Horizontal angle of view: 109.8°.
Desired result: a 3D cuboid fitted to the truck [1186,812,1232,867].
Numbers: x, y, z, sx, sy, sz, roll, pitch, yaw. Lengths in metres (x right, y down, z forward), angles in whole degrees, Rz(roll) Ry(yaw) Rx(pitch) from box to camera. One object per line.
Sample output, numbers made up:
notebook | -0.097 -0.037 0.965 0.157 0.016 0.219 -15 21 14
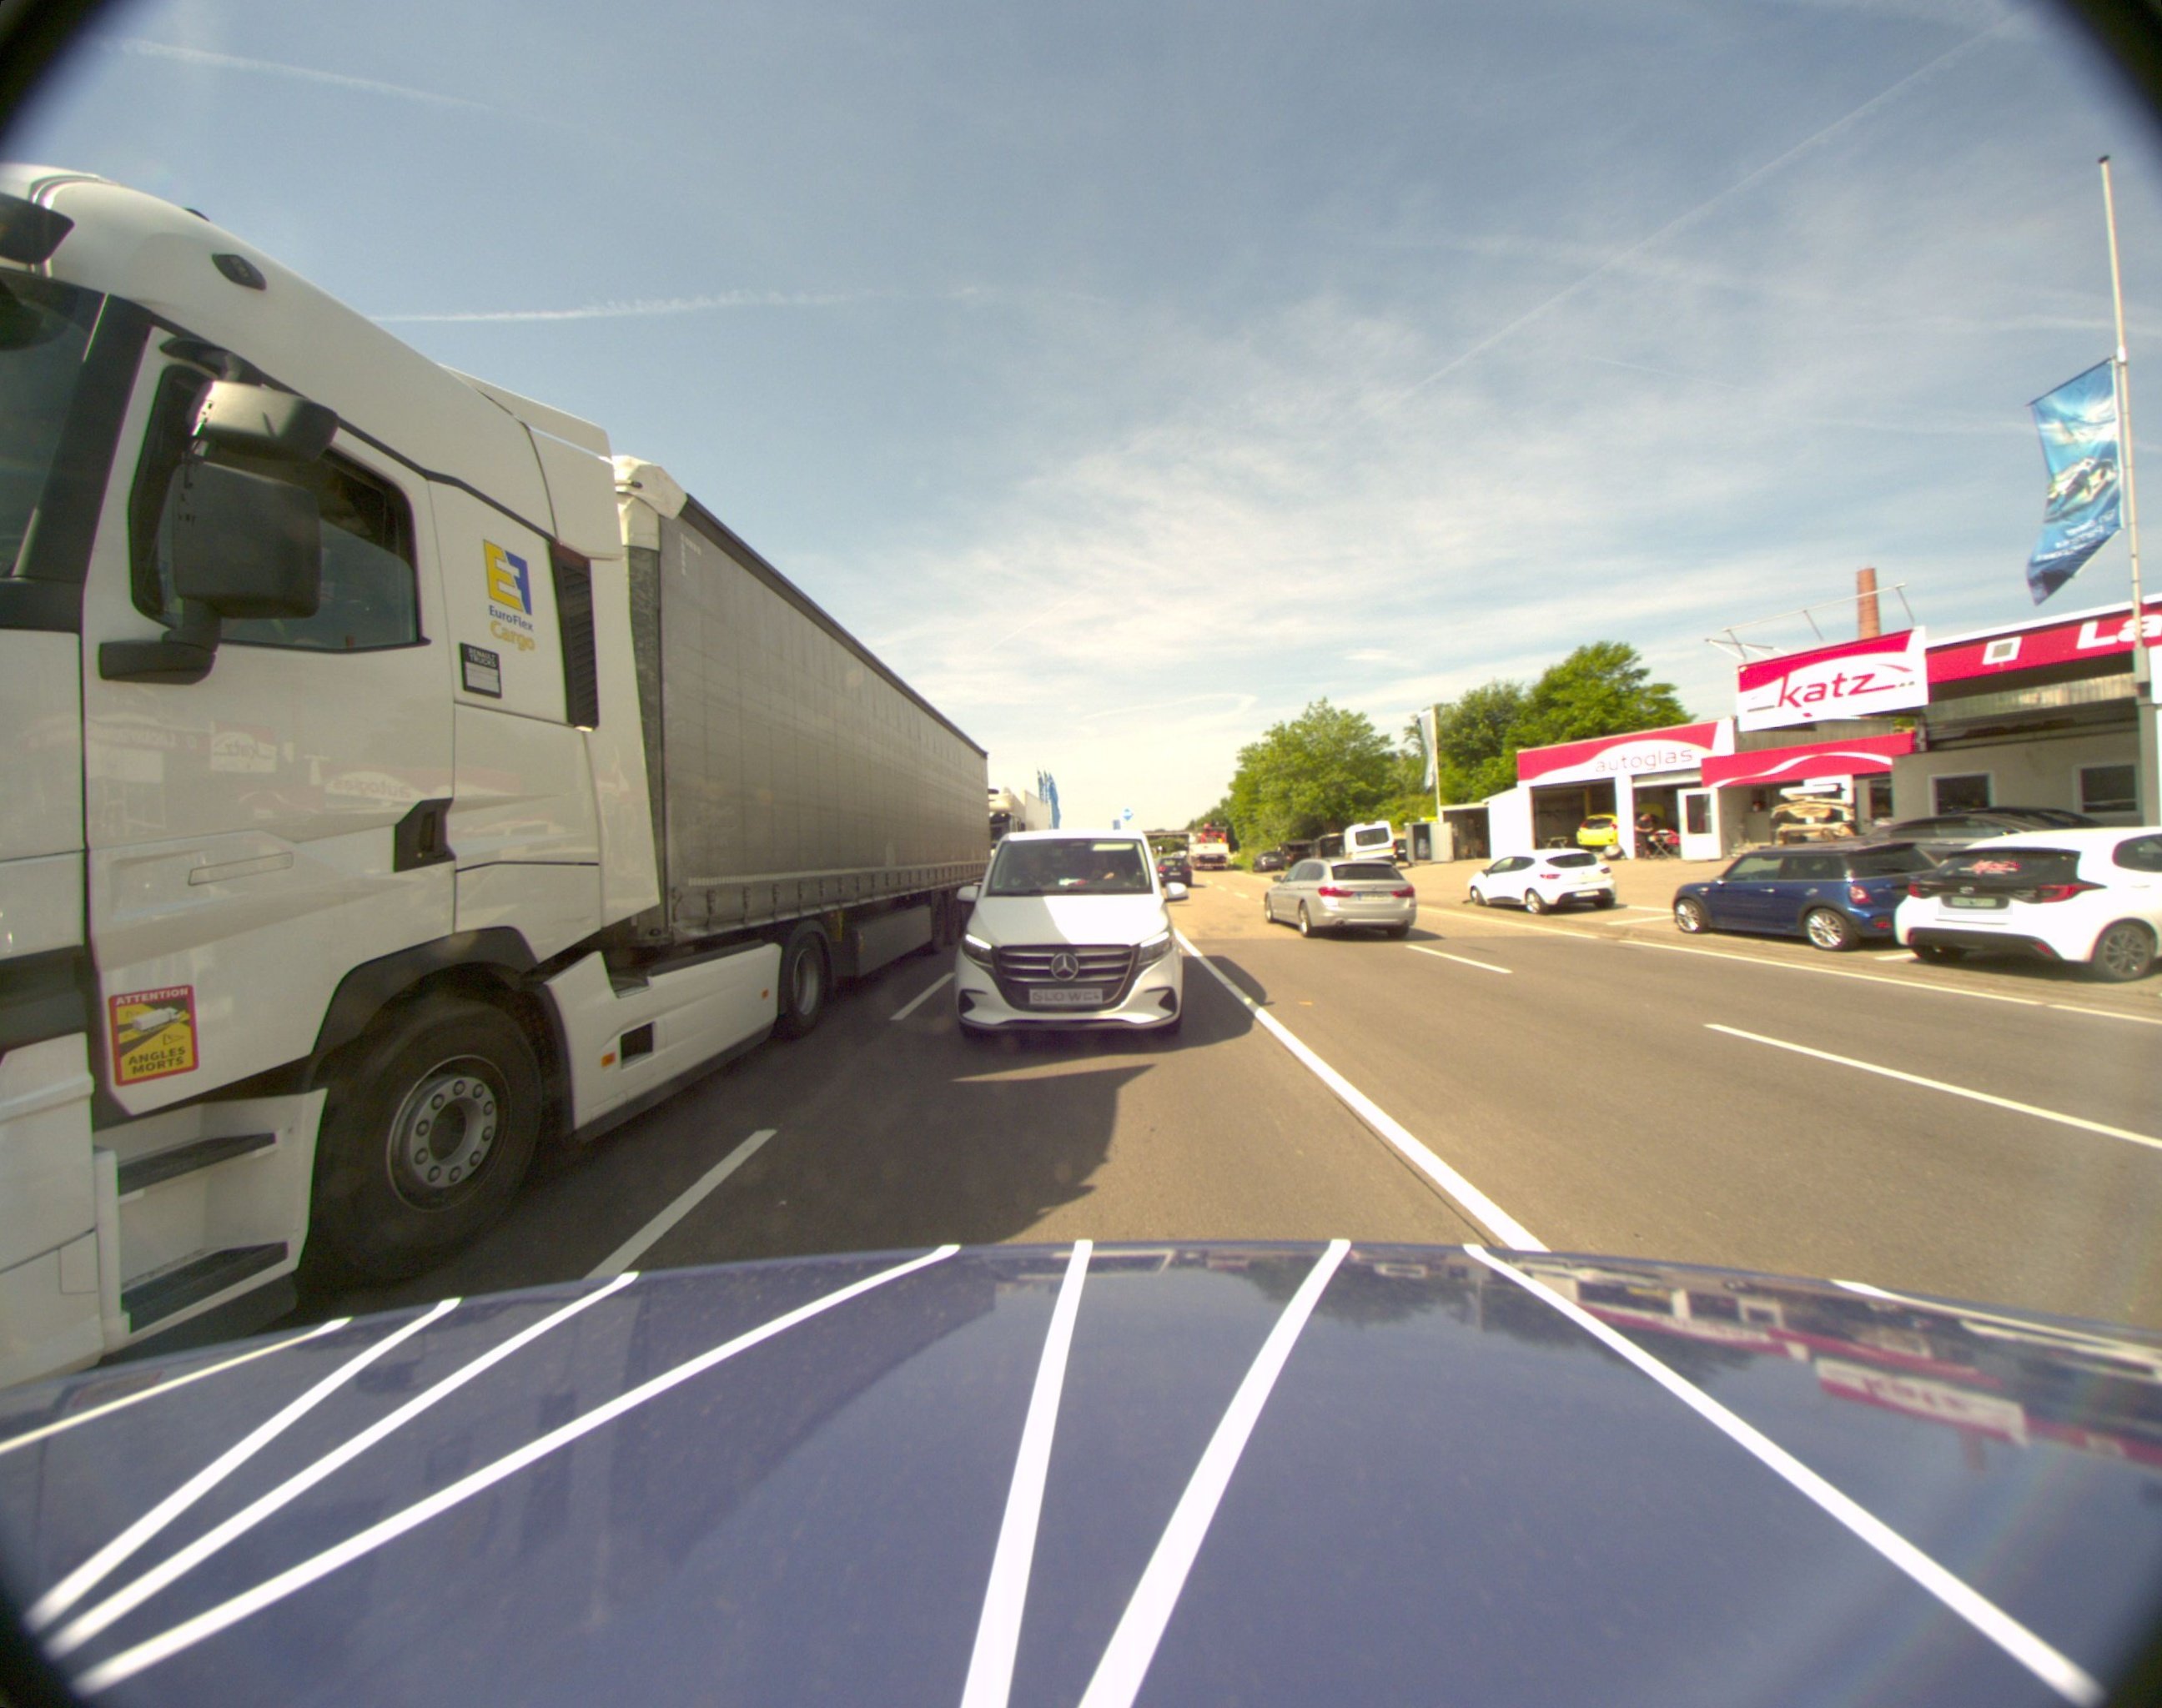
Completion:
truck | 10.553 -1.126 63.593 2.962 4.184 10.650 0 0 5

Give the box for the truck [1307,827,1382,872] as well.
truck | 16.326 -0.318 47.678 2.335 2.283 8.806 -7 0 6

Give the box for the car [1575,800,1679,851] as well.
car | 22.754 -1.180 31.656 3.674 1.715 1.736 -6 2 -22

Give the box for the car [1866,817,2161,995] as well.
car | 11.697 0.472 8.543 3.806 1.516 1.846 -5 0 -2

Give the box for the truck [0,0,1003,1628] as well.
truck | -3.677 -0.376 9.788 2.897 4.241 16.710 -2 0 2

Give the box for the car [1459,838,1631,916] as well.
car | 11.096 0.482 18.548 1.783 1.608 4.000 -3 0 2

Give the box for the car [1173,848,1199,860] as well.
car | 14.691 -0.025 106.316 1.807 1.551 4.395 -1 0 35

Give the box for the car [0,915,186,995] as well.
car | -23.554 2.278 17.471 1.562 1.401 3.596 -1 1 2

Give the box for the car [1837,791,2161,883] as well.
car | 18.944 -0.274 15.610 1.861 1.496 4.389 -5 -1 -22

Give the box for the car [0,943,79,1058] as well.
car | -16.065 2.073 9.597 3.669 1.394 1.735 -3 0 -26

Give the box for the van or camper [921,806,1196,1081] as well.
van or camper | -0.069 0.672 8.309 1.998 2.002 5.291 -2 0 2

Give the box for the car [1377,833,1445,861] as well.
car | 20.361 -0.440 46.930 3.675 1.521 1.736 -3 1 -22

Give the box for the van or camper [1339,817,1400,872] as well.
van or camper | 15.041 -0.504 39.889 2.157 2.484 5.956 -6 0 15

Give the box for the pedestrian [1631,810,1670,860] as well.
pedestrian | 20.955 -0.691 27.959 0.724 1.752 0.895 -3 1 3

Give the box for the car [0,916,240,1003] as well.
car | -21.558 2.256 16.916 1.562 1.401 3.596 -1 1 2

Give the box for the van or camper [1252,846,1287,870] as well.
van or camper | 13.232 0.263 53.599 1.643 1.515 4.468 -3 1 5

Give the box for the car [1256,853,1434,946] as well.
car | 5.013 0.764 15.238 1.914 1.512 4.781 -2 0 1

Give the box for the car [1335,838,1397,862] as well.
car | 19.871 -0.296 53.059 3.671 1.502 1.716 -3 1 -8

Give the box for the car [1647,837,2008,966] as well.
car | 11.076 0.600 11.732 1.783 1.485 3.781 -6 0 2

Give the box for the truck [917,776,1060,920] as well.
truck | -2.668 -0.192 26.216 2.886 3.789 11.143 -2 0 3

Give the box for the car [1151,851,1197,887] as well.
car | 4.421 0.676 36.677 1.810 1.550 4.387 -2 0 3
